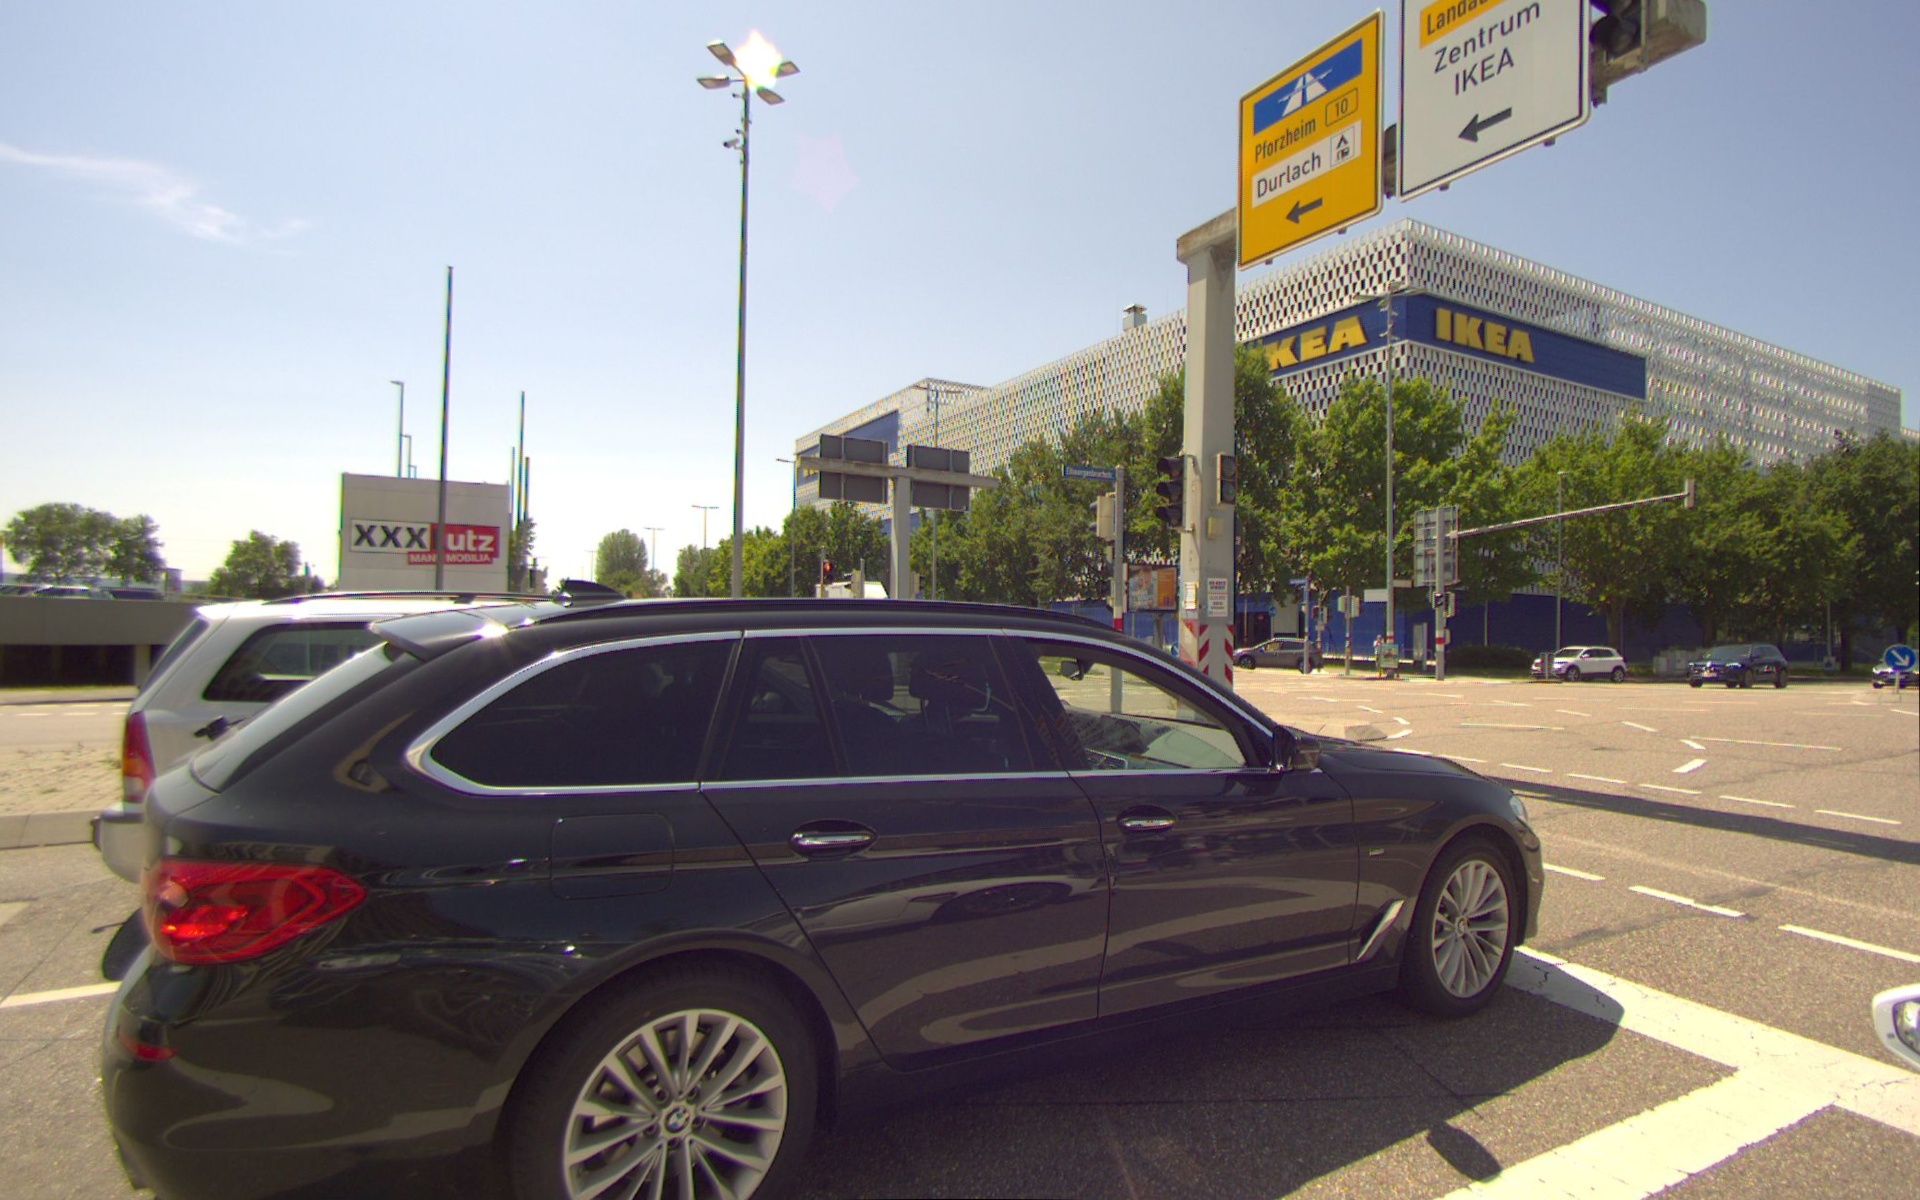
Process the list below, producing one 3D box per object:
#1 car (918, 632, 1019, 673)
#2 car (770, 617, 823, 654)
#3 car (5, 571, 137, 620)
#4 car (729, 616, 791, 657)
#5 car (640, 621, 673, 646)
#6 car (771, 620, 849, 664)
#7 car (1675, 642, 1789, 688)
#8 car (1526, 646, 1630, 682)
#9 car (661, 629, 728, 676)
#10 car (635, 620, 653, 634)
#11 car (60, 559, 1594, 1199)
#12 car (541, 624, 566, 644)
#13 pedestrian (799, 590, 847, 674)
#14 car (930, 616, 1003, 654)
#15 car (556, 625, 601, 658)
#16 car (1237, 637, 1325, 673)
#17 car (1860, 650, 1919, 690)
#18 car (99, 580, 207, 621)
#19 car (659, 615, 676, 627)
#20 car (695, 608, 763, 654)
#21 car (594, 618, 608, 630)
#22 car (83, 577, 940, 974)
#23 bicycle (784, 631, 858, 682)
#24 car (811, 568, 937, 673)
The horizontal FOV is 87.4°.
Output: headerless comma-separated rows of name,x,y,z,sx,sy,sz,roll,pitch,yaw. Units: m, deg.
car,0.243,1.872,36.663,1.756,1.360,4.262,1,-2,-30
car,-9.520,2.071,58.296,1.974,2.014,3.974,2,-3,-26
car,-38.907,-0.158,44.107,3.953,1.957,1.984,2,-2,-30
car,-10.624,1.940,52.995,1.975,2.040,4.681,2,-2,-27
car,-25.871,2.830,85.562,1.906,2.040,3.971,2,-2,-28
car,-6.788,1.852,45.017,1.973,1.835,5.438,1,-2,-25
car,28.866,2.426,37.549,4.444,1.619,1.866,2,-3,-30
car,27.215,2.811,44.282,4.003,1.476,1.622,2,-2,-16
car,-9.285,1.799,34.989,1.904,1.528,3.982,1,-2,-20
car,-47.109,4.076,149.730,1.974,2.040,3.973,2,-3,-27
car,0.088,0.730,3.547,4.570,1.485,1.791,1,-1,-31
car,-36.546,3.063,90.229,1.718,1.708,3.642,2,-2,-28
pedestrian,-3.398,0.801,24.963,0.856,2.040,0.899,1,-2,-35
car,0.321,1.990,56.950,1.978,2.034,4.725,2,-3,-31
car,-23.986,2.583,63.100,1.815,2.040,3.963,2,-2,-34
car,14.485,2.468,45.331,3.680,1.553,1.777,-1,-3,19
car,35.866,2.634,37.930,3.663,1.445,1.724,2,-4,-30
car,-40.364,0.061,50.364,3.956,1.933,1.983,2,-2,-32
car,-48.509,3.500,166.787,1.974,2.040,3.972,2,-1,-27
car,-13.881,1.859,60.089,2.541,2.568,6.587,0,-2,-26
car,-60.870,4.112,170.295,1.971,2.040,3.979,2,-2,-22
car,-2.237,0.728,5.735,3.961,1.513,1.786,1,-2,-36
bicycle,-3.492,1.381,25.095,0.987,1.229,2.079,2,-2,-35
car,-3.383,0.766,37.567,2.156,3.532,6.875,0,-1,-28
